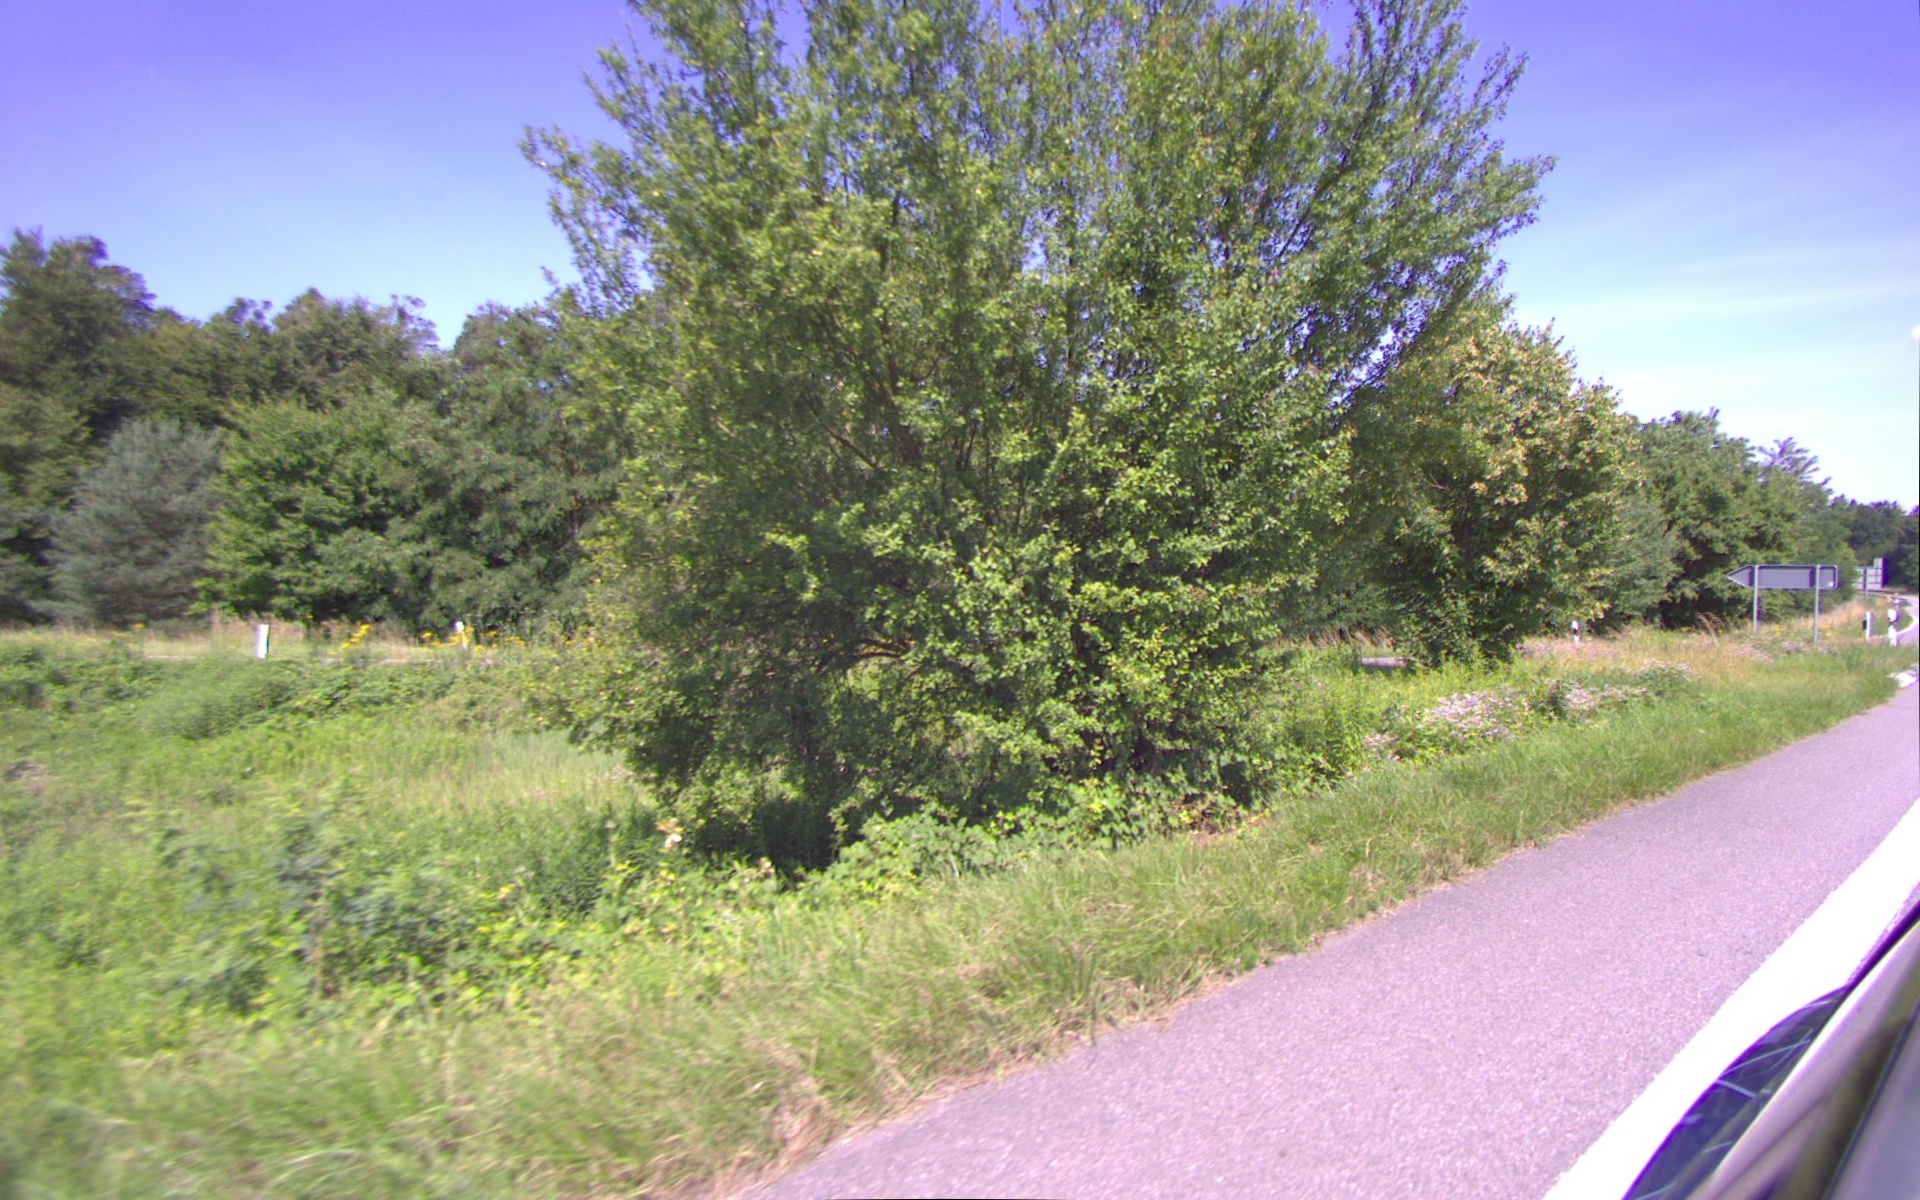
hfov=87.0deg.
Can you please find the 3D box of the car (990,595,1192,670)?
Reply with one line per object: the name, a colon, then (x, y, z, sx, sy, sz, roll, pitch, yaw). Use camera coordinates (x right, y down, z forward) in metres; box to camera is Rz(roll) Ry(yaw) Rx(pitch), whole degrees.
car: (3.211, 0.784, 25.197, 4.569, 1.687, 1.903, -1, -1, -10)
